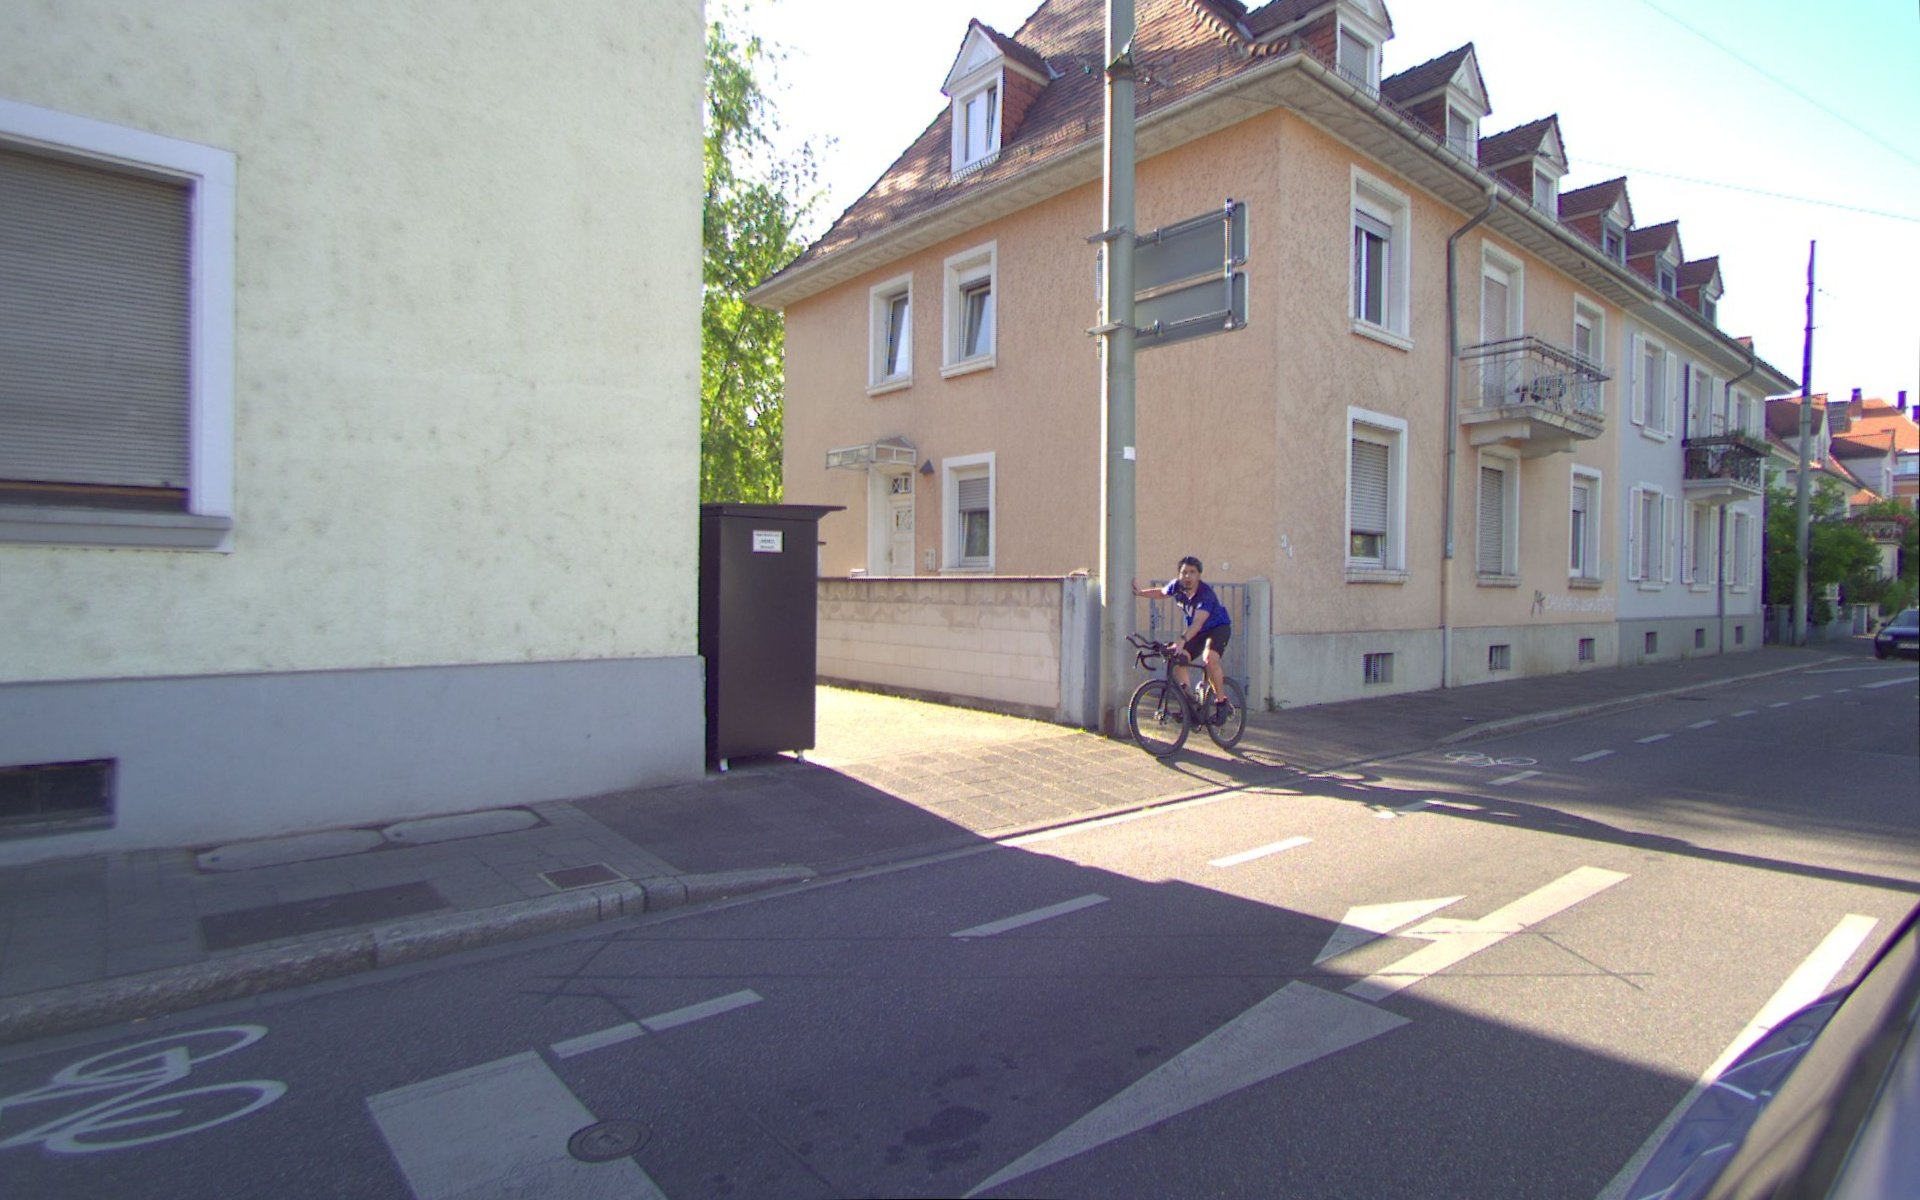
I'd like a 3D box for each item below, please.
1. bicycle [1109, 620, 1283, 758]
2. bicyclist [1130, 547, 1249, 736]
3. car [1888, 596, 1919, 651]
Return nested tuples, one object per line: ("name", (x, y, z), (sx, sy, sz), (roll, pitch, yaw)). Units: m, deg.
("bicycle", (2.205, 0.771, 9.328), (1.763, 1.074, 0.551), (0, 6, -41))
("bicyclist", (2.109, 0.351, 9.278), (0.998, 1.637, 0.562), (0, 1, -40))
("car", (26.718, 0.620, 27.396), (4.347, 1.425, 1.866), (0, 1, -41))
